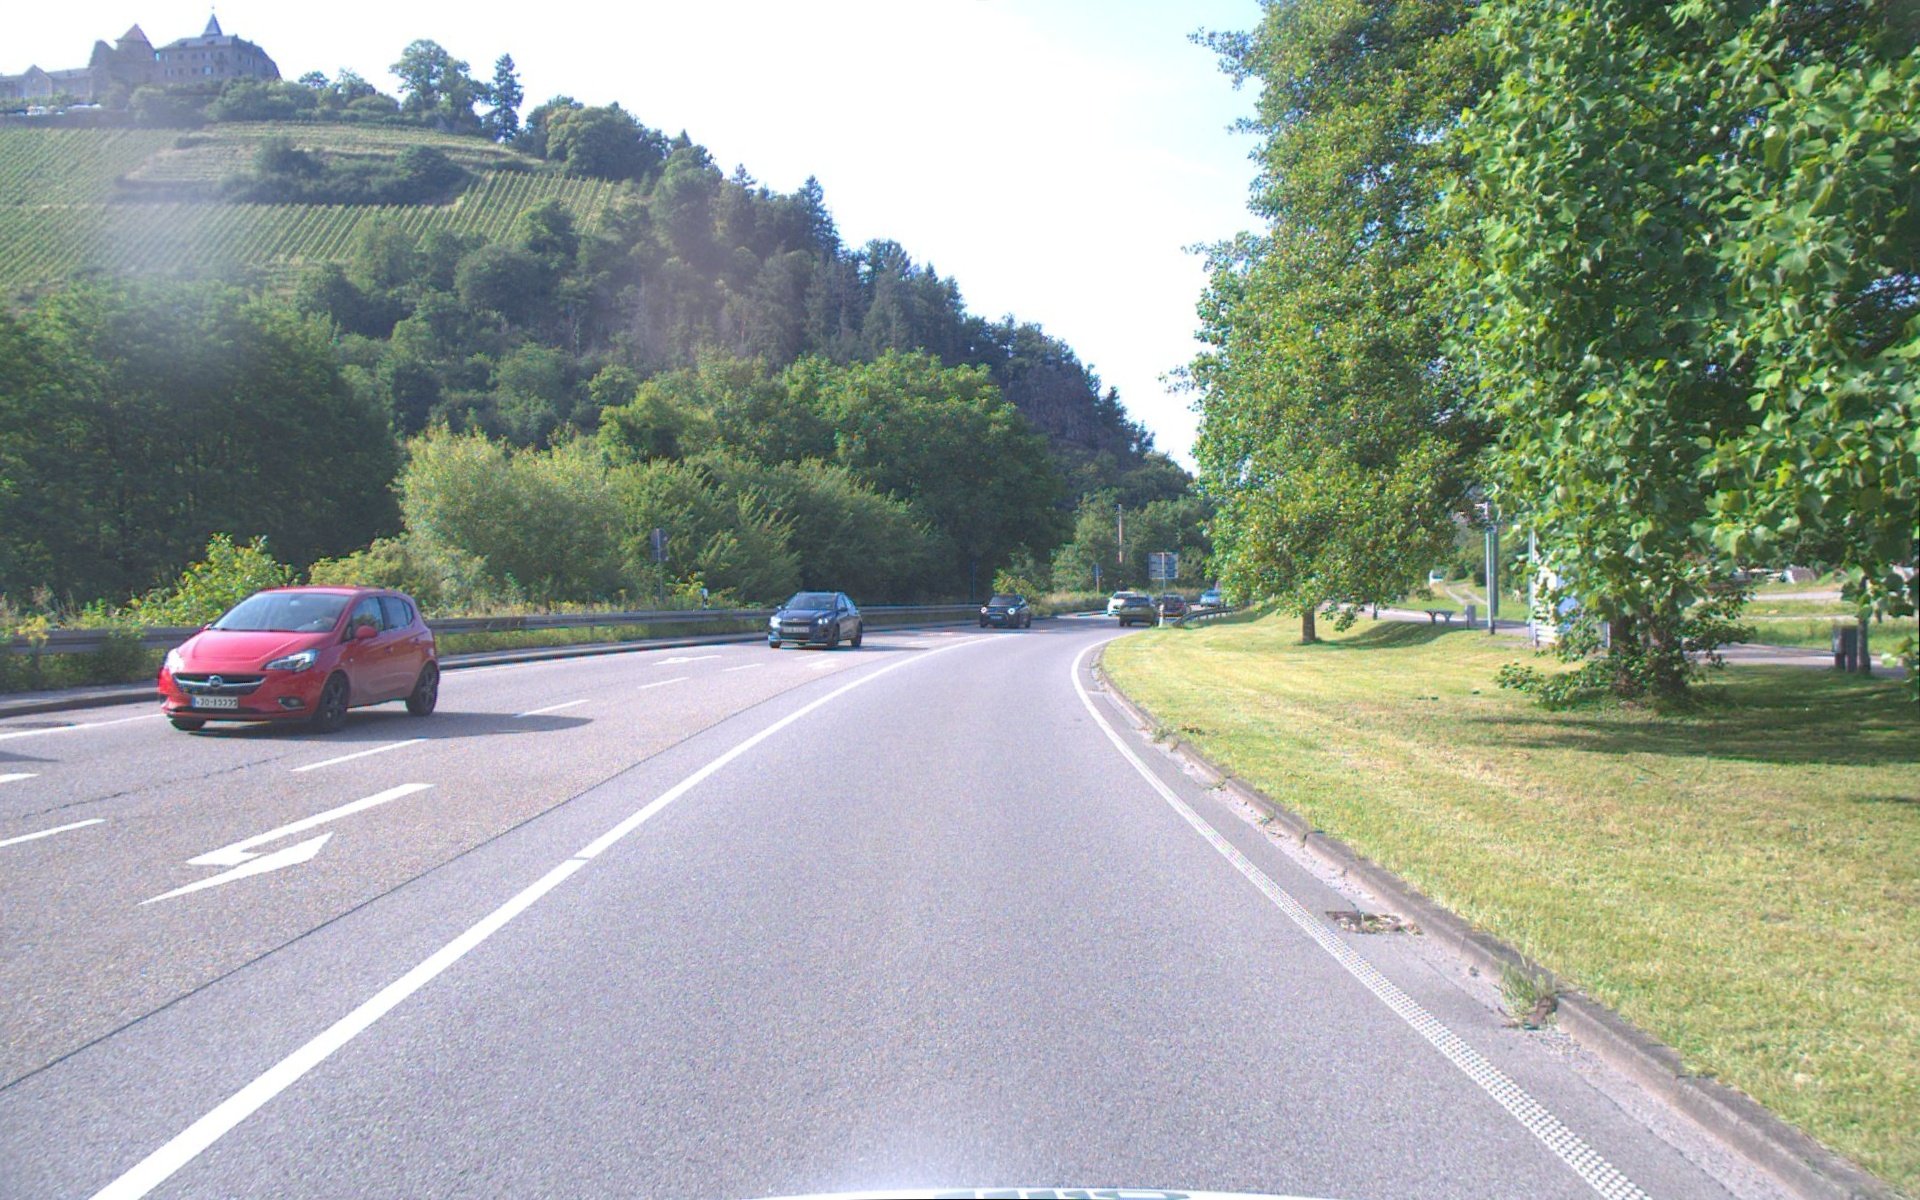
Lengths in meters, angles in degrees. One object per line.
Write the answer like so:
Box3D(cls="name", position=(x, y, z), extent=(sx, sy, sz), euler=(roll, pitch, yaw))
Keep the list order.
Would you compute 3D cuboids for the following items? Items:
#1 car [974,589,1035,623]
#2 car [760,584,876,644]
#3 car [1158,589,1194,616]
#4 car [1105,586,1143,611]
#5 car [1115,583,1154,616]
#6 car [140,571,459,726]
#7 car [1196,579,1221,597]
Box3D(cls="car", position=(1.982, 0.227, 72.530), extent=(1.658, 1.426, 4.205), euler=(0, 1, 16))
Box3D(cls="car", position=(-3.765, 0.351, 44.753), extent=(1.811, 1.495, 4.546), euler=(1, 1, 13))
Box3D(cls="car", position=(13.003, 0.145, 99.376), extent=(1.801, 1.485, 3.716), euler=(-2, 0, 13))
Box3D(cls="car", position=(10.600, -0.099, 106.689), extent=(1.903, 1.512, 4.589), euler=(1, 1, 12))
Box3D(cls="car", position=(8.477, -0.043, 80.157), extent=(1.691, 1.482, 3.413), euler=(-2, 0, 8))
Box3D(cls="car", position=(-7.030, 0.451, 18.105), extent=(1.640, 1.485, 4.203), euler=(0, 0, 2))
Box3D(cls="car", position=(21.856, -1.048, 145.233), extent=(1.613, 1.461, 4.609), euler=(2, 1, 15))
